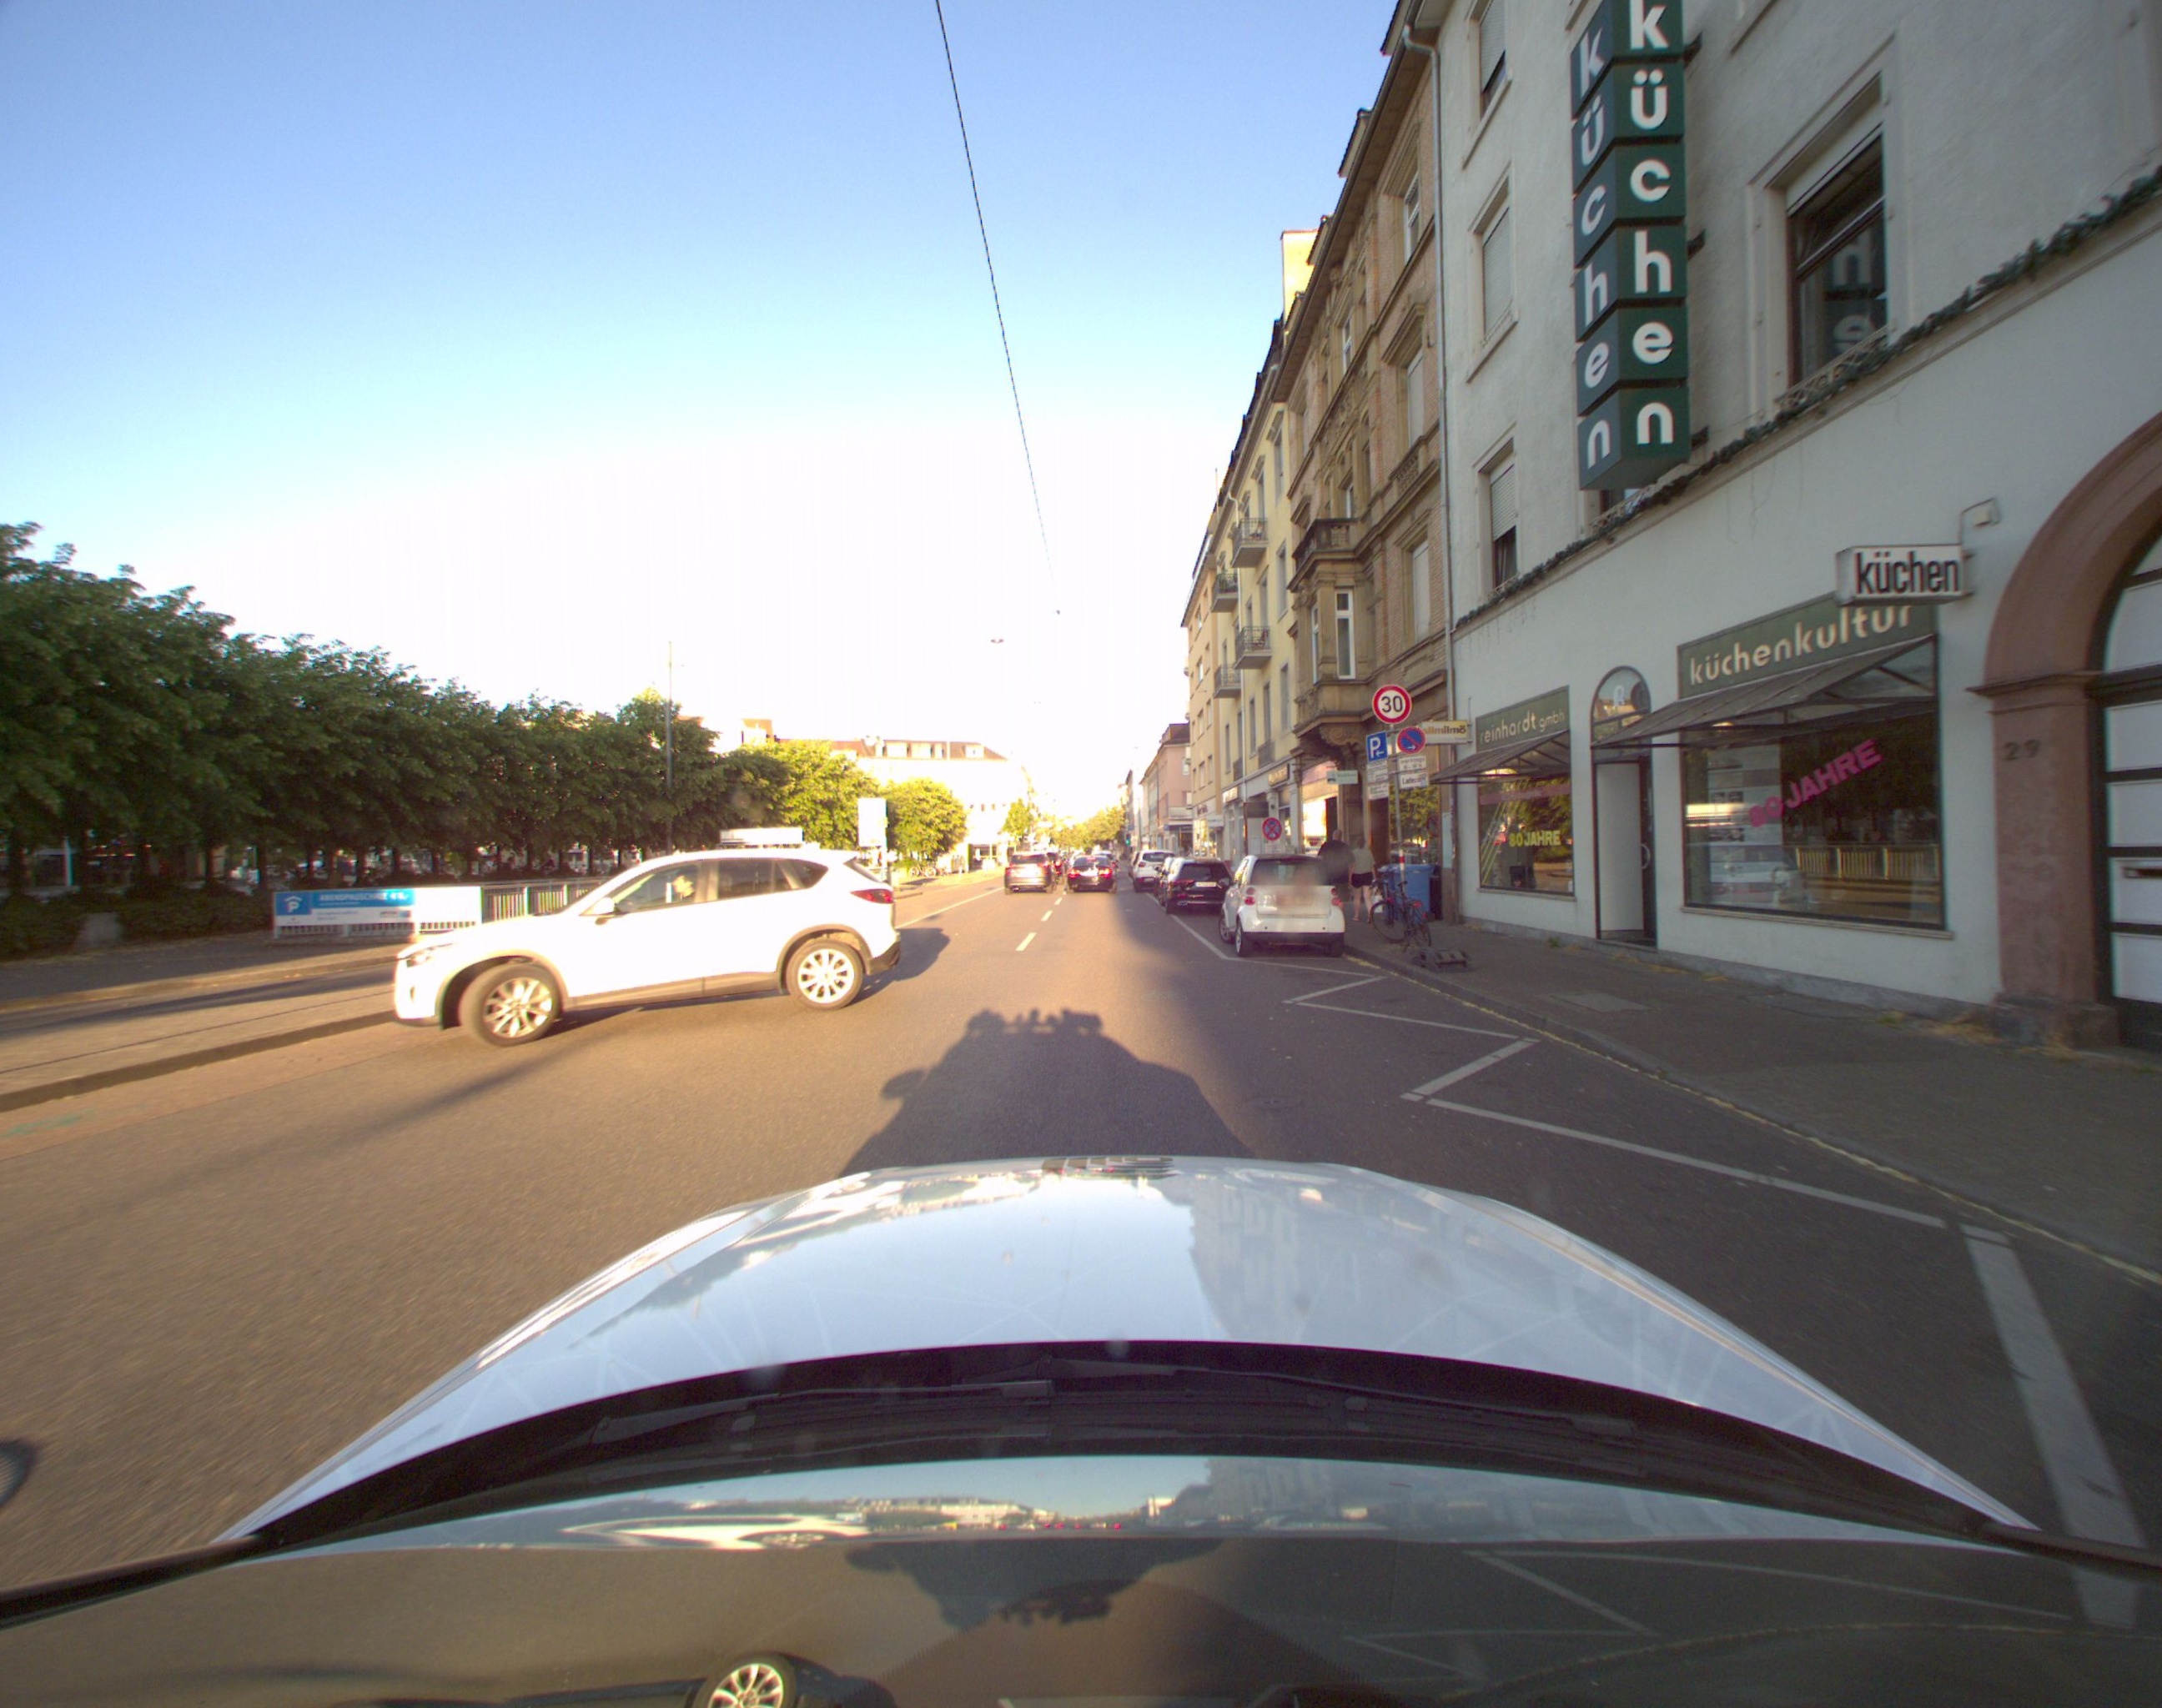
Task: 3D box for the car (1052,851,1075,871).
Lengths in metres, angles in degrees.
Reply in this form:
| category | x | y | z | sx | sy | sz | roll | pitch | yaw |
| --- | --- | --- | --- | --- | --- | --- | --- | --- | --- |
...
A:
| category | x | y | z | sx | sy | sz | roll | pitch | yaw |
| --- | --- | --- | --- | --- | --- | --- | --- | --- | --- |
| car | -1.411 | 0.569 | 68.045 | 1.774 | 1.547 | 4.000 | -1 | 0 | 0 |

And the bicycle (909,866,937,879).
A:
| category | x | y | z | sx | sy | sz | roll | pitch | yaw |
| --- | --- | --- | --- | --- | --- | --- | --- | --- | --- |
| bicycle | -10.842 | 1.264 | 56.040 | 1.821 | 0.853 | 0.483 | 1 | 0 | -3 |

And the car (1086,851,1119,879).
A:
| category | x | y | z | sx | sy | sz | roll | pitch | yaw |
| --- | --- | --- | --- | --- | --- | --- | --- | --- | --- |
| car | 1.233 | 0.607 | 48.359 | 1.890 | 1.581 | 4.000 | 0 | 0 | 0 |

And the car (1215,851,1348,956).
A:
| category | x | y | z | sx | sy | sz | roll | pitch | yaw |
| --- | --- | --- | --- | --- | --- | --- | --- | --- | --- |
| car | 3.198 | 0.733 | 13.565 | 1.526 | 1.536 | 3.285 | 0 | 0 | 2 |

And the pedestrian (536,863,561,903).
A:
| category | x | y | z | sx | sy | sz | roll | pitch | yaw |
| --- | --- | --- | --- | --- | --- | --- | --- | --- | --- |
| pedestrian | -21.938 | 1.184 | 33.550 | 0.672 | 1.595 | 0.571 | -1 | 0 | 20 |

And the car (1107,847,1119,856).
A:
| category | x | y | z | sx | sy | sz | roll | pitch | yaw |
| --- | --- | --- | --- | --- | --- | --- | --- | --- | --- |
| car | 5.951 | -0.407 | 151.776 | 1.890 | 1.581 | 3.852 | -3 | 0 | 0 |

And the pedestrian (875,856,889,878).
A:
| category | x | y | z | sx | sy | sz | roll | pitch | yaw |
| --- | --- | --- | --- | --- | --- | --- | --- | --- | --- |
| pedestrian | -14.548 | 0.951 | 59.528 | 0.783 | 1.595 | 0.571 | -1 | 0 | 20 |

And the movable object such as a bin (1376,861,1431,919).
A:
| category | x | y | z | sx | sy | sz | roll | pitch | yaw |
| --- | --- | --- | --- | --- | --- | --- | --- | --- | --- |
| movable object such as a bin | 6.351 | 0.703 | 16.058 | 0.772 | 1.070 | 0.618 | -4 | 0 | 0 |

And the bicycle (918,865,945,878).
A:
| category | x | y | z | sx | sy | sz | roll | pitch | yaw |
| --- | --- | --- | --- | --- | --- | --- | --- | --- | --- |
| bicycle | -10.588 | 1.260 | 57.842 | 1.821 | 0.853 | 0.483 | 1 | 0 | -3 |

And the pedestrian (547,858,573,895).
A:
| category | x | y | z | sx | sy | sz | roll | pitch | yaw |
| --- | --- | --- | --- | --- | --- | --- | --- | --- | --- |
| pedestrian | -22.564 | 0.976 | 35.302 | 0.783 | 1.595 | 0.571 | -1 | 0 | 20 |

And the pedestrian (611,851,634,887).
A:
| category | x | y | z | sx | sy | sz | roll | pitch | yaw |
| --- | --- | --- | --- | --- | --- | --- | --- | --- | --- |
| pedestrian | -20.579 | 0.667 | 36.528 | 0.672 | 1.595 | 0.571 | -1 | 0 | 20 |

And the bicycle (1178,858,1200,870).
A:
| category | x | y | z | sx | sy | sz | roll | pitch | yaw |
| --- | --- | --- | --- | --- | --- | --- | --- | --- | --- |
| bicycle | 8.872 | 0.790 | 66.911 | 1.749 | 0.967 | 0.493 | -1 | 0 | 28 |

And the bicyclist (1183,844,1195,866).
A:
| category | x | y | z | sx | sy | sz | roll | pitch | yaw |
| --- | --- | --- | --- | --- | --- | --- | --- | --- | --- |
| bicyclist | 8.854 | 0.107 | 66.901 | 0.823 | 1.777 | 0.612 | -1 | 0 | 28 |

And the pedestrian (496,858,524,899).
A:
| category | x | y | z | sx | sy | sz | roll | pitch | yaw |
| --- | --- | --- | --- | --- | --- | --- | --- | --- | --- |
| pedestrian | -22.971 | 0.981 | 32.770 | 0.783 | 1.595 | 0.571 | -1 | 0 | 20 |

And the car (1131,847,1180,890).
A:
| category | x | y | z | sx | sy | sz | roll | pitch | yaw |
| --- | --- | --- | --- | --- | --- | --- | --- | --- | --- |
| car | 2.981 | 0.566 | 33.271 | 1.723 | 1.650 | 4.285 | 0 | 0 | 1 |

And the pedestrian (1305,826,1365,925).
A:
| category | x | y | z | sx | sy | sz | roll | pitch | yaw |
| --- | --- | --- | --- | --- | --- | --- | --- | --- | --- |
| pedestrian | 4.922 | 0.395 | 15.825 | 0.770 | 1.827 | 1.011 | -3 | 0 | 0 |

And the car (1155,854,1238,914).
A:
| category | x | y | z | sx | sy | sz | roll | pitch | yaw |
| --- | --- | --- | --- | --- | --- | --- | --- | --- | --- |
| car | 3.030 | 0.736 | 22.182 | 1.723 | 1.448 | 4.525 | 0 | 0 | 1 |

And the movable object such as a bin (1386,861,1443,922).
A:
| category | x | y | z | sx | sy | sz | roll | pitch | yaw |
| --- | --- | --- | --- | --- | --- | --- | --- | --- | --- |
| movable object such as a bin | 6.314 | 0.694 | 15.422 | 0.772 | 1.070 | 0.618 | -4 | 0 | 0 |

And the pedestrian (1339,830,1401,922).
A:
| category | x | y | z | sx | sy | sz | roll | pitch | yaw |
| --- | --- | --- | --- | --- | --- | --- | --- | --- | --- |
| pedestrian | 5.659 | 0.409 | 15.982 | 0.770 | 1.711 | 1.042 | -3 | 0 | 0 |

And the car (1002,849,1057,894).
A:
| category | x | y | z | sx | sy | sz | roll | pitch | yaw |
| --- | --- | --- | --- | --- | --- | --- | --- | --- | --- |
| car | -2.022 | 0.658 | 32.931 | 1.890 | 1.649 | 4.104 | -1 | 0 | 0 |

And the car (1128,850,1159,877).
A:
| category | x | y | z | sx | sy | sz | roll | pitch | yaw |
| --- | --- | --- | --- | --- | --- | --- | --- | --- | --- |
| car | 3.869 | 0.576 | 50.755 | 1.723 | 1.652 | 3.971 | 0 | 0 | 2 |

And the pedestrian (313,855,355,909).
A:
| category | x | y | z | sx | sy | sz | roll | pitch | yaw |
| --- | --- | --- | --- | --- | --- | --- | --- | --- | --- |
| pedestrian | -22.924 | 0.841 | 24.998 | 0.703 | 1.595 | 0.673 | -1 | 0 | -17 |

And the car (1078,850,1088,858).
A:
| category | x | y | z | sx | sy | sz | roll | pitch | yaw |
| --- | --- | --- | --- | --- | --- | --- | --- | --- | --- |
| car | 0.407 | 0.000 | 155.911 | 1.774 | 1.547 | 4.000 | -1 | 0 | 0 |

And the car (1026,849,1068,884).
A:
| category | x | y | z | sx | sy | sz | roll | pitch | yaw |
| --- | --- | --- | --- | --- | --- | --- | --- | --- | --- |
| car | -1.665 | 0.589 | 41.153 | 1.890 | 1.649 | 4.104 | -1 | 0 | 0 |

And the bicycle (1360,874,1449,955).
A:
| category | x | y | z | sx | sy | sz | roll | pitch | yaw |
| --- | --- | --- | --- | --- | --- | --- | --- | --- | --- |
| bicycle | 4.670 | 0.837 | 11.880 | 0.502 | 1.016 | 1.947 | -2 | 0 | 0 |

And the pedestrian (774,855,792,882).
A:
| category | x | y | z | sx | sy | sz | roll | pitch | yaw |
| --- | --- | --- | --- | --- | --- | --- | --- | --- | --- |
| pedestrian | -17.715 | 0.877 | 48.370 | 0.783 | 1.595 | 0.571 | -1 | 0 | 20 |

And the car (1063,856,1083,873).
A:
| category | x | y | z | sx | sy | sz | roll | pitch | yaw |
| --- | --- | --- | --- | --- | --- | --- | --- | --- | --- |
| car | -0.737 | 0.975 | 77.874 | 1.774 | 1.547 | 4.000 | -1 | 0 | 0 |

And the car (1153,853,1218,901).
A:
| category | x | y | z | sx | sy | sz | roll | pitch | yaw |
| --- | --- | --- | --- | --- | --- | --- | --- | --- | --- |
| car | 3.420 | 0.715 | 27.329 | 1.723 | 1.448 | 4.475 | 0 | 0 | 1 |

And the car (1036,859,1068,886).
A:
| category | x | y | z | sx | sy | sz | roll | pitch | yaw |
| --- | --- | --- | --- | --- | --- | --- | --- | --- | --- |
| car | -1.741 | 1.092 | 49.803 | 1.774 | 1.547 | 4.000 | -1 | 0 | 0 |

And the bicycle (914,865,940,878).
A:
| category | x | y | z | sx | sy | sz | roll | pitch | yaw |
| --- | --- | --- | --- | --- | --- | --- | --- | --- | --- |
| bicycle | -11.112 | 1.246 | 58.757 | 1.821 | 0.853 | 0.483 | 1 | 0 | -3 |

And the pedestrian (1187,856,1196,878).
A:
| category | x | y | z | sx | sy | sz | roll | pitch | yaw |
| --- | --- | --- | --- | --- | --- | --- | --- | --- | --- |
| pedestrian | 9.320 | 1.065 | 68.734 | 0.698 | 1.812 | 0.634 | -1 | 0 | -3 |

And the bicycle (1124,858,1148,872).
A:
| category | x | y | z | sx | sy | sz | roll | pitch | yaw |
| --- | --- | --- | --- | --- | --- | --- | --- | --- | --- |
| bicycle | 4.107 | 0.819 | 60.711 | 1.757 | 0.967 | 0.491 | -1 | 0 | 6 |

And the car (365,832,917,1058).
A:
| category | x | y | z | sx | sy | sz | roll | pitch | yaw |
| --- | --- | --- | --- | --- | --- | --- | --- | --- | --- |
| car | -4.160 | 0.722 | 8.460 | 4.471 | 1.761 | 1.984 | -2 | 0 | -24 |

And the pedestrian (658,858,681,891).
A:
| category | x | y | z | sx | sy | sz | roll | pitch | yaw |
| --- | --- | --- | --- | --- | --- | --- | --- | --- | --- |
| pedestrian | -19.859 | 0.984 | 39.303 | 0.672 | 1.595 | 0.680 | -1 | 0 | 20 |

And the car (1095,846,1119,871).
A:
| category | x | y | z | sx | sy | sz | roll | pitch | yaw |
| --- | --- | --- | --- | --- | --- | --- | --- | --- | --- |
| car | 2.232 | 0.370 | 69.335 | 1.986 | 2.013 | 4.002 | 1 | 0 | 2 |

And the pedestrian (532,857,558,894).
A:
| category | x | y | z | sx | sy | sz | roll | pitch | yaw |
| --- | --- | --- | --- | --- | --- | --- | --- | --- | --- |
| pedestrian | -23.494 | 0.958 | 35.702 | 0.783 | 1.595 | 0.571 | -1 | 0 | 20 |

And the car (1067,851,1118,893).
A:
| category | x | y | z | sx | sy | sz | roll | pitch | yaw |
| --- | --- | --- | --- | --- | --- | --- | --- | --- | --- |
| car | 0.449 | 0.670 | 32.458 | 1.890 | 1.581 | 4.000 | 0 | 0 | 0 |
